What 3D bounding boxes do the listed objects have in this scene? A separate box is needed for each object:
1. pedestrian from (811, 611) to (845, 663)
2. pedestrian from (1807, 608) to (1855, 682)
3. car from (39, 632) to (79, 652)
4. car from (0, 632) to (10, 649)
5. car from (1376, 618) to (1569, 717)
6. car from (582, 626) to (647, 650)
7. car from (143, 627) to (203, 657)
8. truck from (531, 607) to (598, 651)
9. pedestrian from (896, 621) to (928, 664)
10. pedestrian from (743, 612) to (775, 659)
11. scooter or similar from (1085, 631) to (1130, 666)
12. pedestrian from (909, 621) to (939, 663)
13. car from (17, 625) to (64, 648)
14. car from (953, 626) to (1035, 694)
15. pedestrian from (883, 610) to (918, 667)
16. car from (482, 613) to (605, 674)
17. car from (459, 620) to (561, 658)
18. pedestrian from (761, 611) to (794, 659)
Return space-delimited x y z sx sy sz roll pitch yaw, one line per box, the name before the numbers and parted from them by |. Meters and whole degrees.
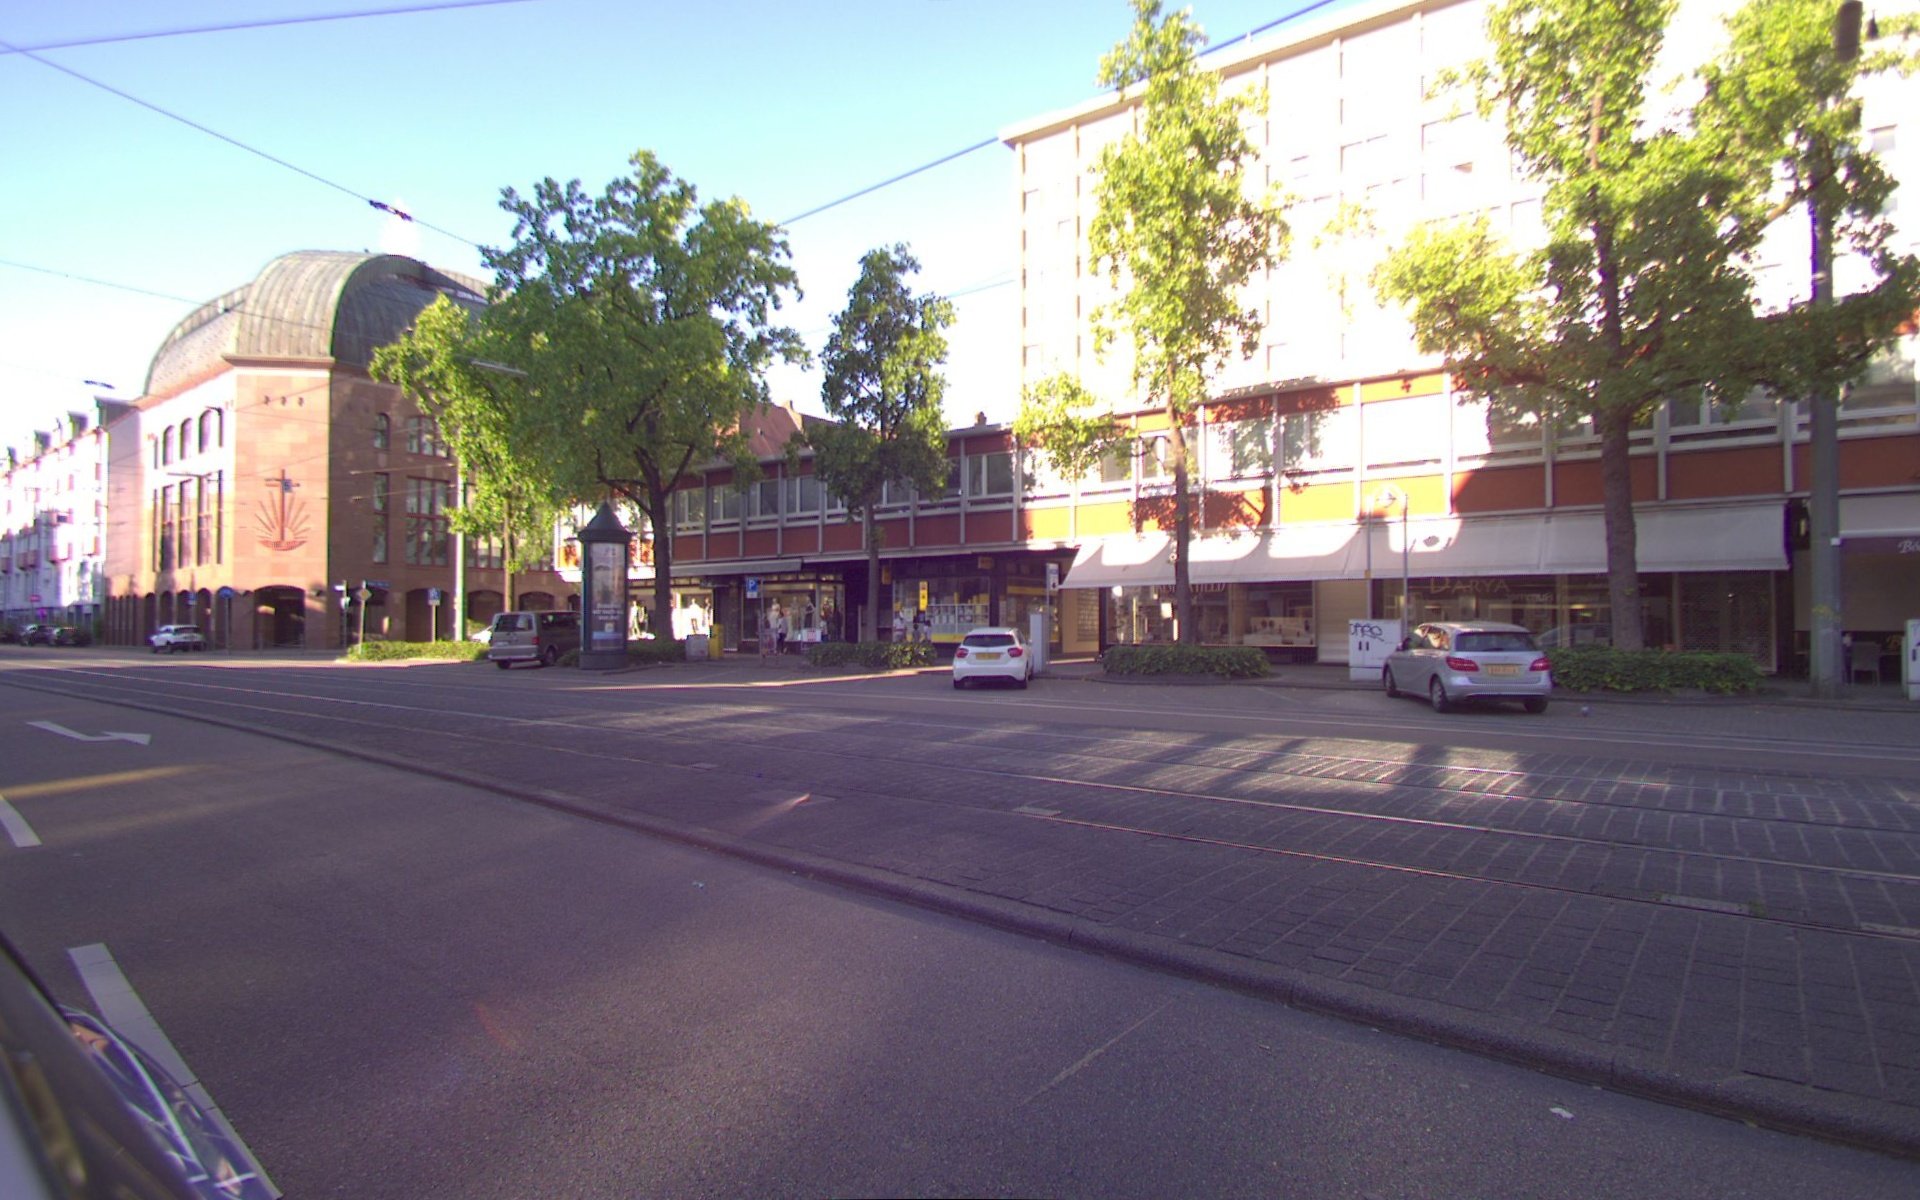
pedestrian | -4.940 1.384 37.891 0.898 1.892 0.908 -1 -2 36
pedestrian | 18.917 0.967 21.988 0.705 1.575 0.864 -2 -2 38
car | -66.524 3.063 74.701 3.679 1.411 1.626 -1 -1 39
car | -86.726 3.633 90.576 4.555 1.520 1.807 -1 -1 38
car | 9.329 1.153 18.849 1.805 1.578 4.271 0 0 7
car | -23.531 2.583 68.902 4.519 1.585 1.835 -1 -2 34
car | -45.391 2.392 58.348 4.269 1.602 1.581 -1 0 36
truck | -25.753 1.882 65.917 4.519 2.784 1.835 -1 -2 34
pedestrian | -1.717 1.502 36.214 0.898 1.509 0.681 -1 -2 36
pedestrian | -8.114 1.439 40.910 0.898 1.892 0.908 -1 -2 36
scooter or similar | 4.717 1.553 32.426 1.335 1.102 0.470 -1 -1 36
pedestrian | -1.312 1.517 36.794 0.898 1.481 0.681 -1 -2 36
car | -71.856 2.845 79.069 4.552 1.713 1.941 -1 -1 37
car | 0.940 1.433 25.377 1.745 1.440 4.261 -1 0 6
pedestrian | -2.034 1.301 34.500 0.903 1.892 0.903 1 -2 -24
car | -14.713 1.480 36.095 1.831 1.943 5.112 0 0 6
car | -26.025 2.236 58.693 2.128 1.982 4.934 2 0 36
pedestrian | -7.558 1.440 41.957 0.898 1.963 0.984 -1 -2 36
